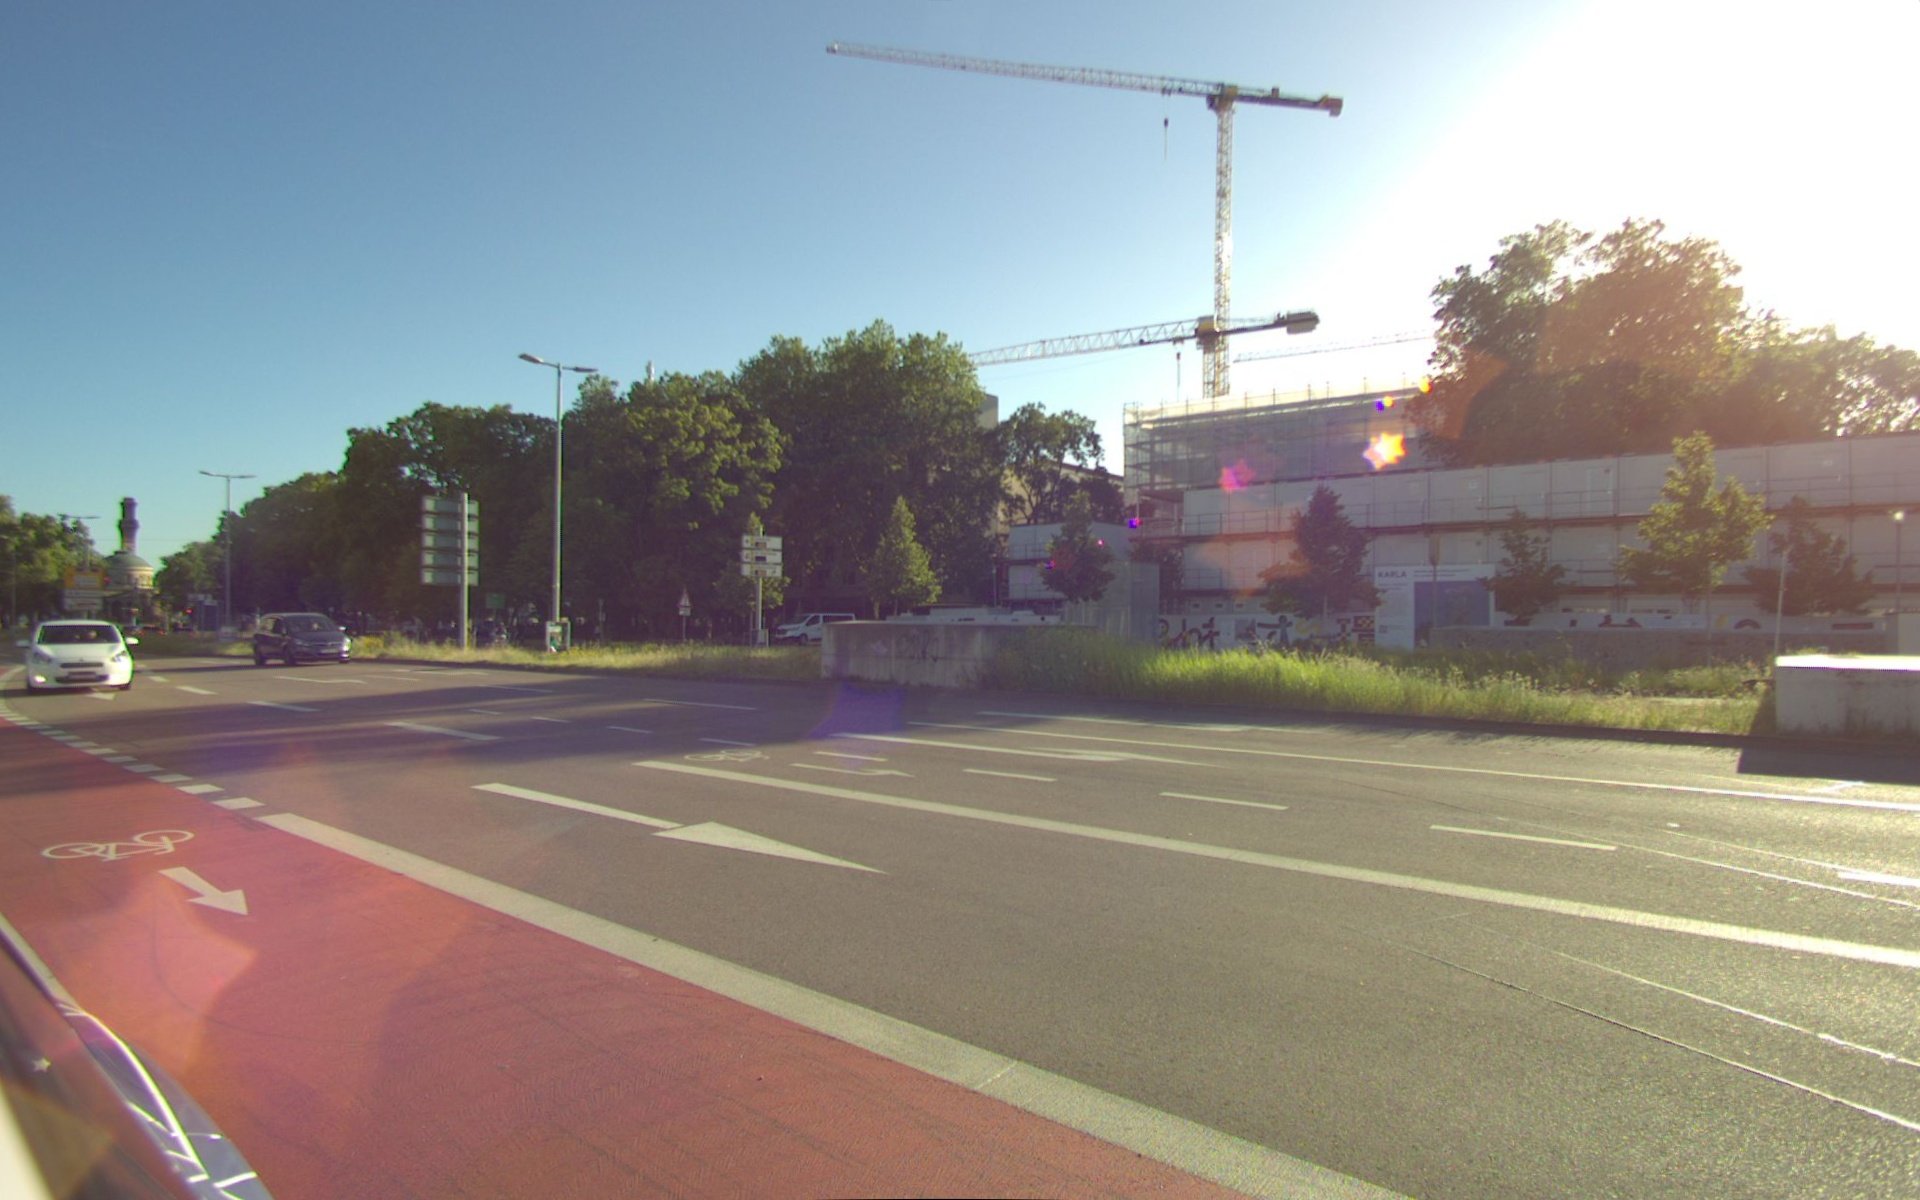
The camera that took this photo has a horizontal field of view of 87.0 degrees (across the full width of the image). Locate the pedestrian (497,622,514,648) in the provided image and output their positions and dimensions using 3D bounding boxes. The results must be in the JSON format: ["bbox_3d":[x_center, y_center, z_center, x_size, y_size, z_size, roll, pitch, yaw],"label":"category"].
[{"bbox_3d":[-30.648,2.381,68.259,0.761,1.754,0.763,-2,-2,44],"label":"pedestrian"}]

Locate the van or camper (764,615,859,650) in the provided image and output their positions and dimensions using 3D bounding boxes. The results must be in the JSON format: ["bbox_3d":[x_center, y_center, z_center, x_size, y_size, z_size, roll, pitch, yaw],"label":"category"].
[{"bbox_3d":[-9.036,1.991,62.016,2.257,2.029,5.603,1,-1,41],"label":"van or camper"}]

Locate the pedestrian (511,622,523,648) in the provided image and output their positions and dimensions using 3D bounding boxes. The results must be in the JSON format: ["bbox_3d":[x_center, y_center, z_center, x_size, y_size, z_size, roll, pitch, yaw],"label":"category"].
[{"bbox_3d":[-30.142,2.368,68.833,0.655,1.754,0.518,-2,-2,44],"label":"pedestrian"}]

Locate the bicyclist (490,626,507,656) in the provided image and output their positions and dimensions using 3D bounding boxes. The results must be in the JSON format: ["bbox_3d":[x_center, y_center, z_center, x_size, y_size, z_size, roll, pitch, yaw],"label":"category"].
[{"bbox_3d":[-23.324,2.072,51.118,0.600,1.500,0.681,1,-2,-45],"label":"bicyclist"}]

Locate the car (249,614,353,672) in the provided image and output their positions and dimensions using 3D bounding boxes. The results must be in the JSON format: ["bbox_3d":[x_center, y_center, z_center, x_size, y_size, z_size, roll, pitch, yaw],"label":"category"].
[{"bbox_3d":[-20.665,1.308,31.665,3.998,1.651,1.711,-1,-1,41],"label":"car"}]

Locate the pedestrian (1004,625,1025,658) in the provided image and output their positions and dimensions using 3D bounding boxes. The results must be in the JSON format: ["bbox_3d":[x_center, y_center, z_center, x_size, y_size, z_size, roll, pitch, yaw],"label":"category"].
[{"bbox_3d":[2.631,2.024,49.059,0.834,1.570,0.574,-2,-3,38],"label":"pedestrian"}]

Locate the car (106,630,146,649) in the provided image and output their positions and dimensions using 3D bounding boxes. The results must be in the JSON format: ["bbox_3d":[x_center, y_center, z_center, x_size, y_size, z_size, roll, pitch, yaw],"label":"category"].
[{"bbox_3d":[-74.605,3.531,90.535,4.546,1.688,1.973,-1,-2,40],"label":"car"}]

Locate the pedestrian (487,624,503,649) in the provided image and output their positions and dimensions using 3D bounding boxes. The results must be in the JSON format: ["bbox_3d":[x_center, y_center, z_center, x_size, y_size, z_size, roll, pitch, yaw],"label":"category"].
[{"bbox_3d":[-31.081,2.430,67.611,0.726,1.653,0.734,-2,-2,44],"label":"pedestrian"}]

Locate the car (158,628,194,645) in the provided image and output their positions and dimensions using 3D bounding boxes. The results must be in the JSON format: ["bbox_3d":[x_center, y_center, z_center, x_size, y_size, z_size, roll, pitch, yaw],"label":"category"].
[{"bbox_3d":[-76.000,3.516,98.121,4.585,1.538,1.913,-2,-2,41],"label":"car"}]

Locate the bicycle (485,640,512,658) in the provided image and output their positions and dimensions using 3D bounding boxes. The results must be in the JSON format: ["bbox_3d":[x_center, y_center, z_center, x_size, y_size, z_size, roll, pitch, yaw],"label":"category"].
[{"bbox_3d":[-23.307,2.452,51.113,0.605,0.868,1.952,1,-2,-44],"label":"bicycle"}]

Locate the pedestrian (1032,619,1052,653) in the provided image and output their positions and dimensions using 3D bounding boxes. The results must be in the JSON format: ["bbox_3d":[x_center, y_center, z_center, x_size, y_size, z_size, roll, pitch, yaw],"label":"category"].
[{"bbox_3d":[4.174,1.814,51.532,0.834,1.701,0.574,-2,-3,38],"label":"pedestrian"}]

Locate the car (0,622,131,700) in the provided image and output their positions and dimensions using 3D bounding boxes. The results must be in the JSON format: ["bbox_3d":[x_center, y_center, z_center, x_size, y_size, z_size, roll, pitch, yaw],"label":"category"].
[{"bbox_3d":[-18.811,1.211,21.201,3.764,1.475,1.657,-1,-1,42],"label":"car"}]

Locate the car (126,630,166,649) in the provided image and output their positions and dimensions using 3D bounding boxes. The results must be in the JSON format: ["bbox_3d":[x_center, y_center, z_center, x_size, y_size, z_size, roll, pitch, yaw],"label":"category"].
[{"bbox_3d":[-69.815,3.342,86.772,4.057,1.576,1.973,-1,-2,40],"label":"car"}]
